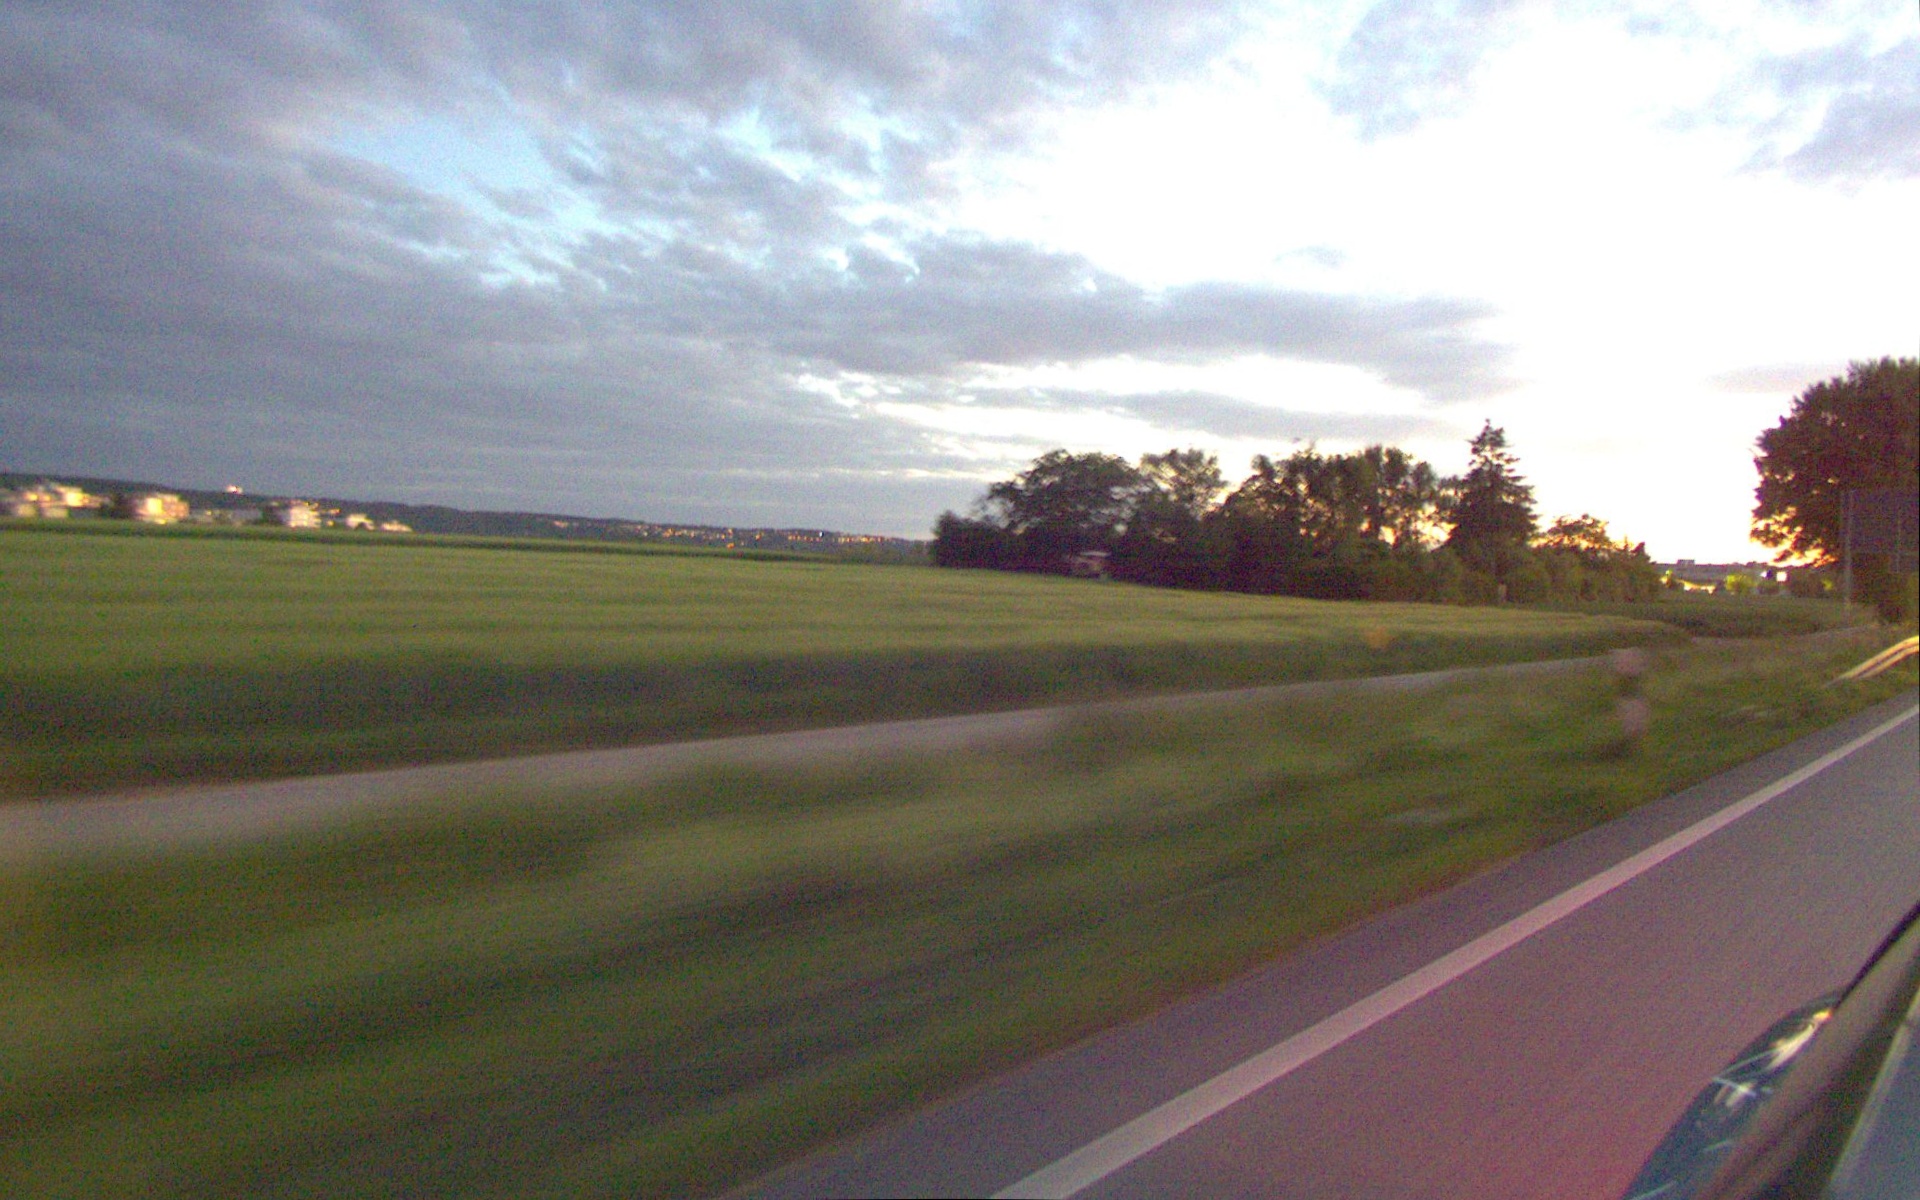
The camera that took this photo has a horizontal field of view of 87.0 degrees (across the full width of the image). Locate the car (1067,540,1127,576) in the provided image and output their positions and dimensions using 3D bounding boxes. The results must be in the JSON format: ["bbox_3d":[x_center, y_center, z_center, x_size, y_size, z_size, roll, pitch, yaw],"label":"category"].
[{"bbox_3d":[9.042,-2.729,66.624,1.989,2.178,4.520,4,3,36],"label":"car"}]
